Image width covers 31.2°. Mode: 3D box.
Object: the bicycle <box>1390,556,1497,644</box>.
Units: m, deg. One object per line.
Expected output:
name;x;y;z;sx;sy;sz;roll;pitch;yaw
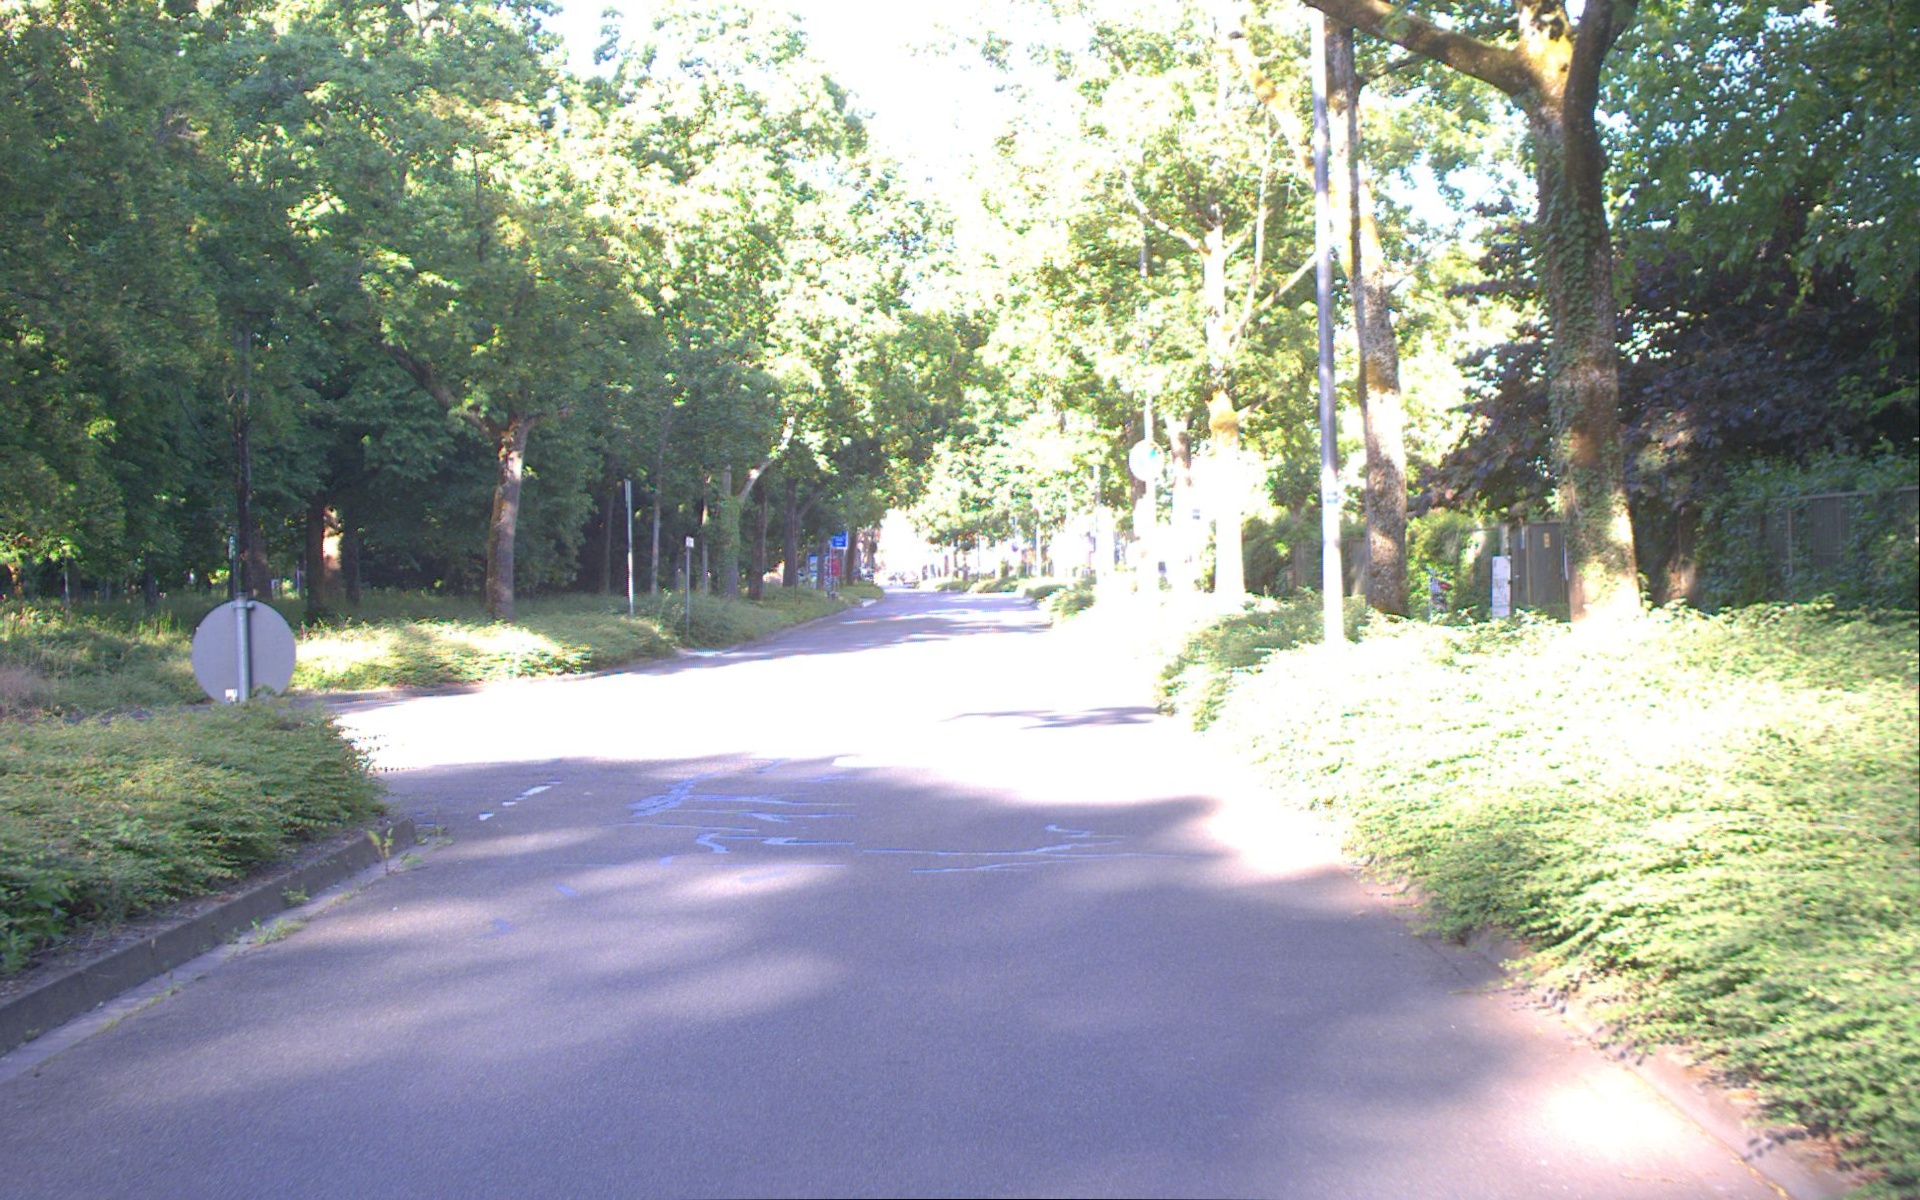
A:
bicycle;7.274;-0.012;51.611;0.884;1.196;2.323;-3;1;25
